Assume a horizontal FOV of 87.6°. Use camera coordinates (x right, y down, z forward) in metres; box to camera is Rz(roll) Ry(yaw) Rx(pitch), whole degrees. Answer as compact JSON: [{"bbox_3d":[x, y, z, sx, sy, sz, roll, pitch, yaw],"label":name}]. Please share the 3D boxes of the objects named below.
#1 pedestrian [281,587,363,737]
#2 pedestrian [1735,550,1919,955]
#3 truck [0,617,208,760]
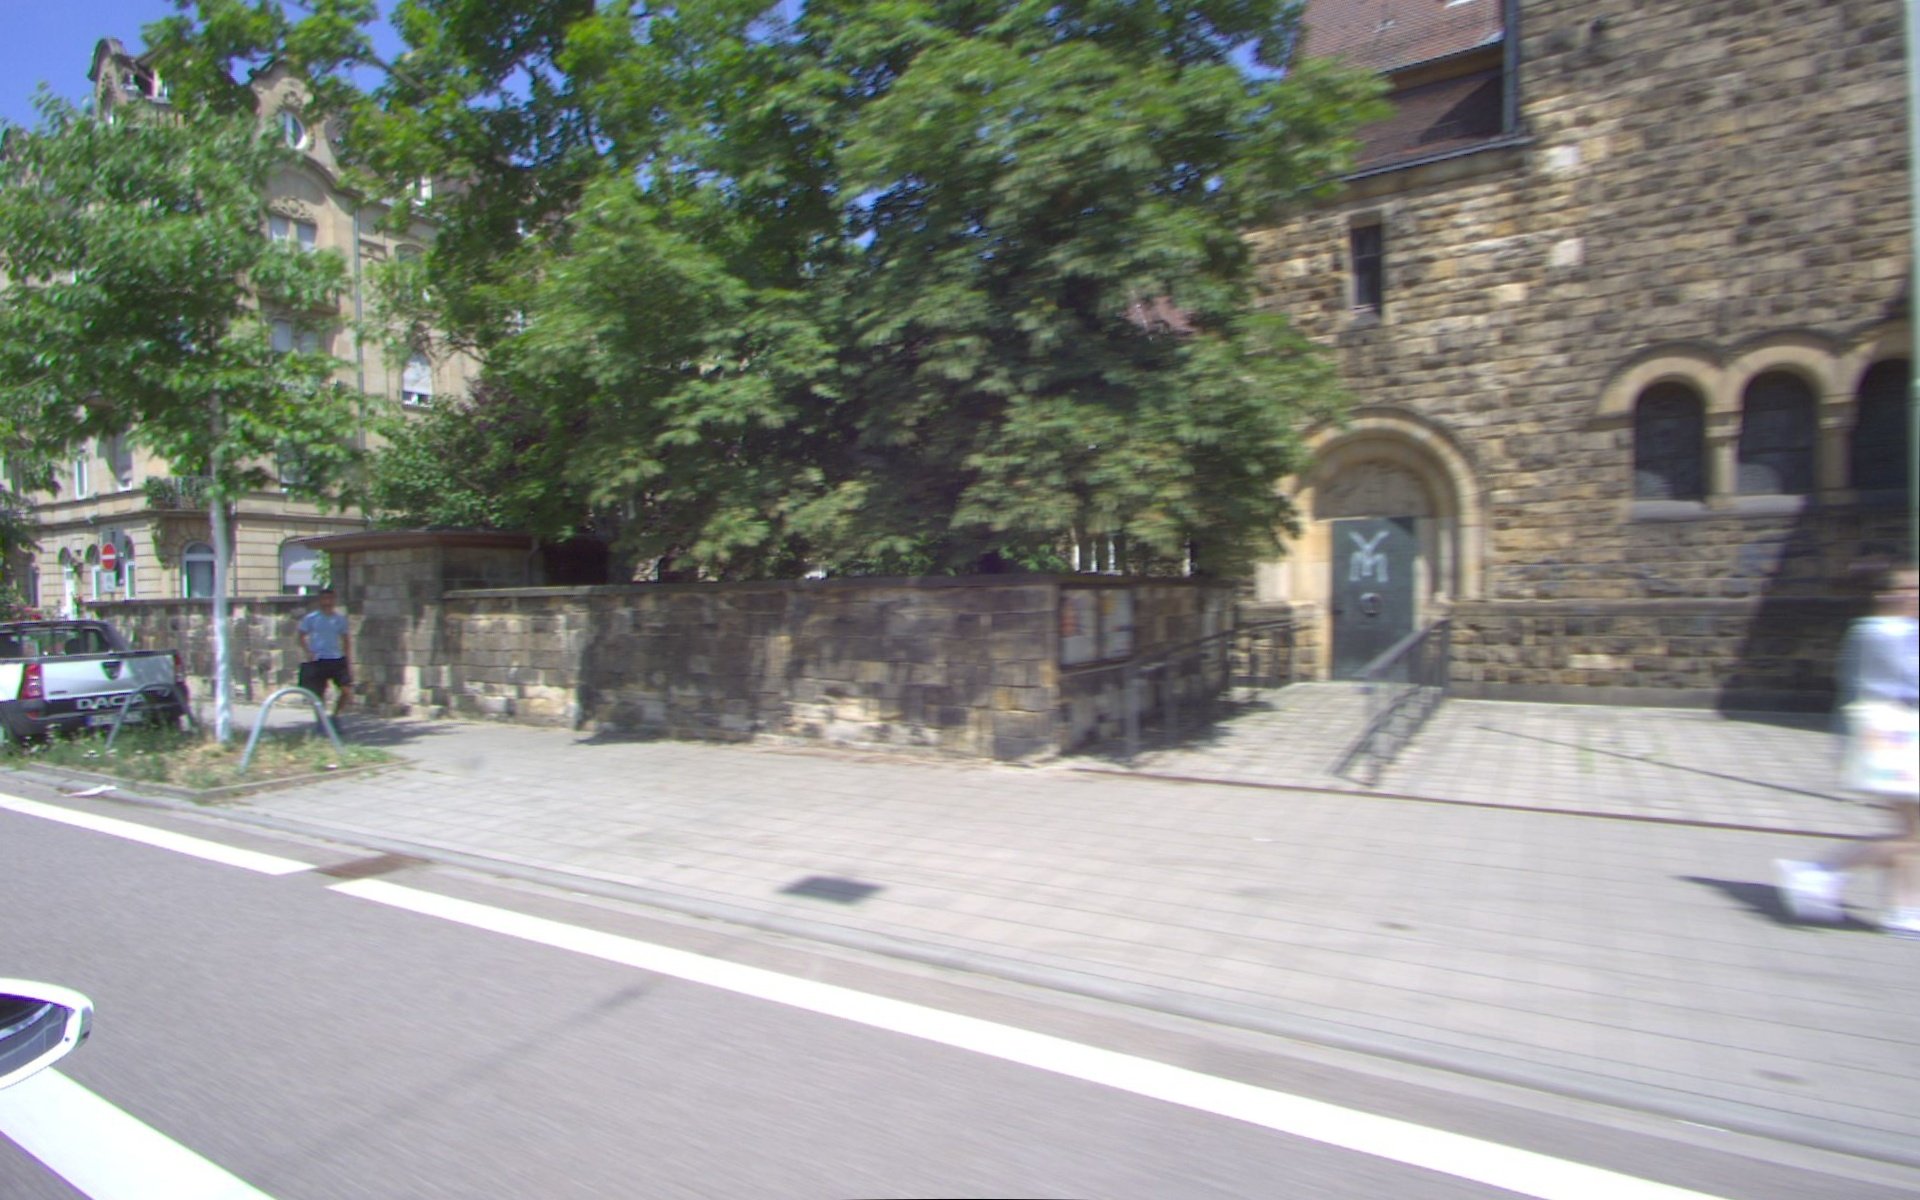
[{"bbox_3d":[-7.844,0.738,12.318,0.669,1.778,0.620,0,0,33],"label":"pedestrian"},{"bbox_3d":[4.126,0.634,4.490,0.953,1.672,0.792,0,0,33],"label":"pedestrian"},{"bbox_3d":[-11.685,1.003,12.806,4.399,1.546,1.787,-1,-1,31],"label":"truck"}]
